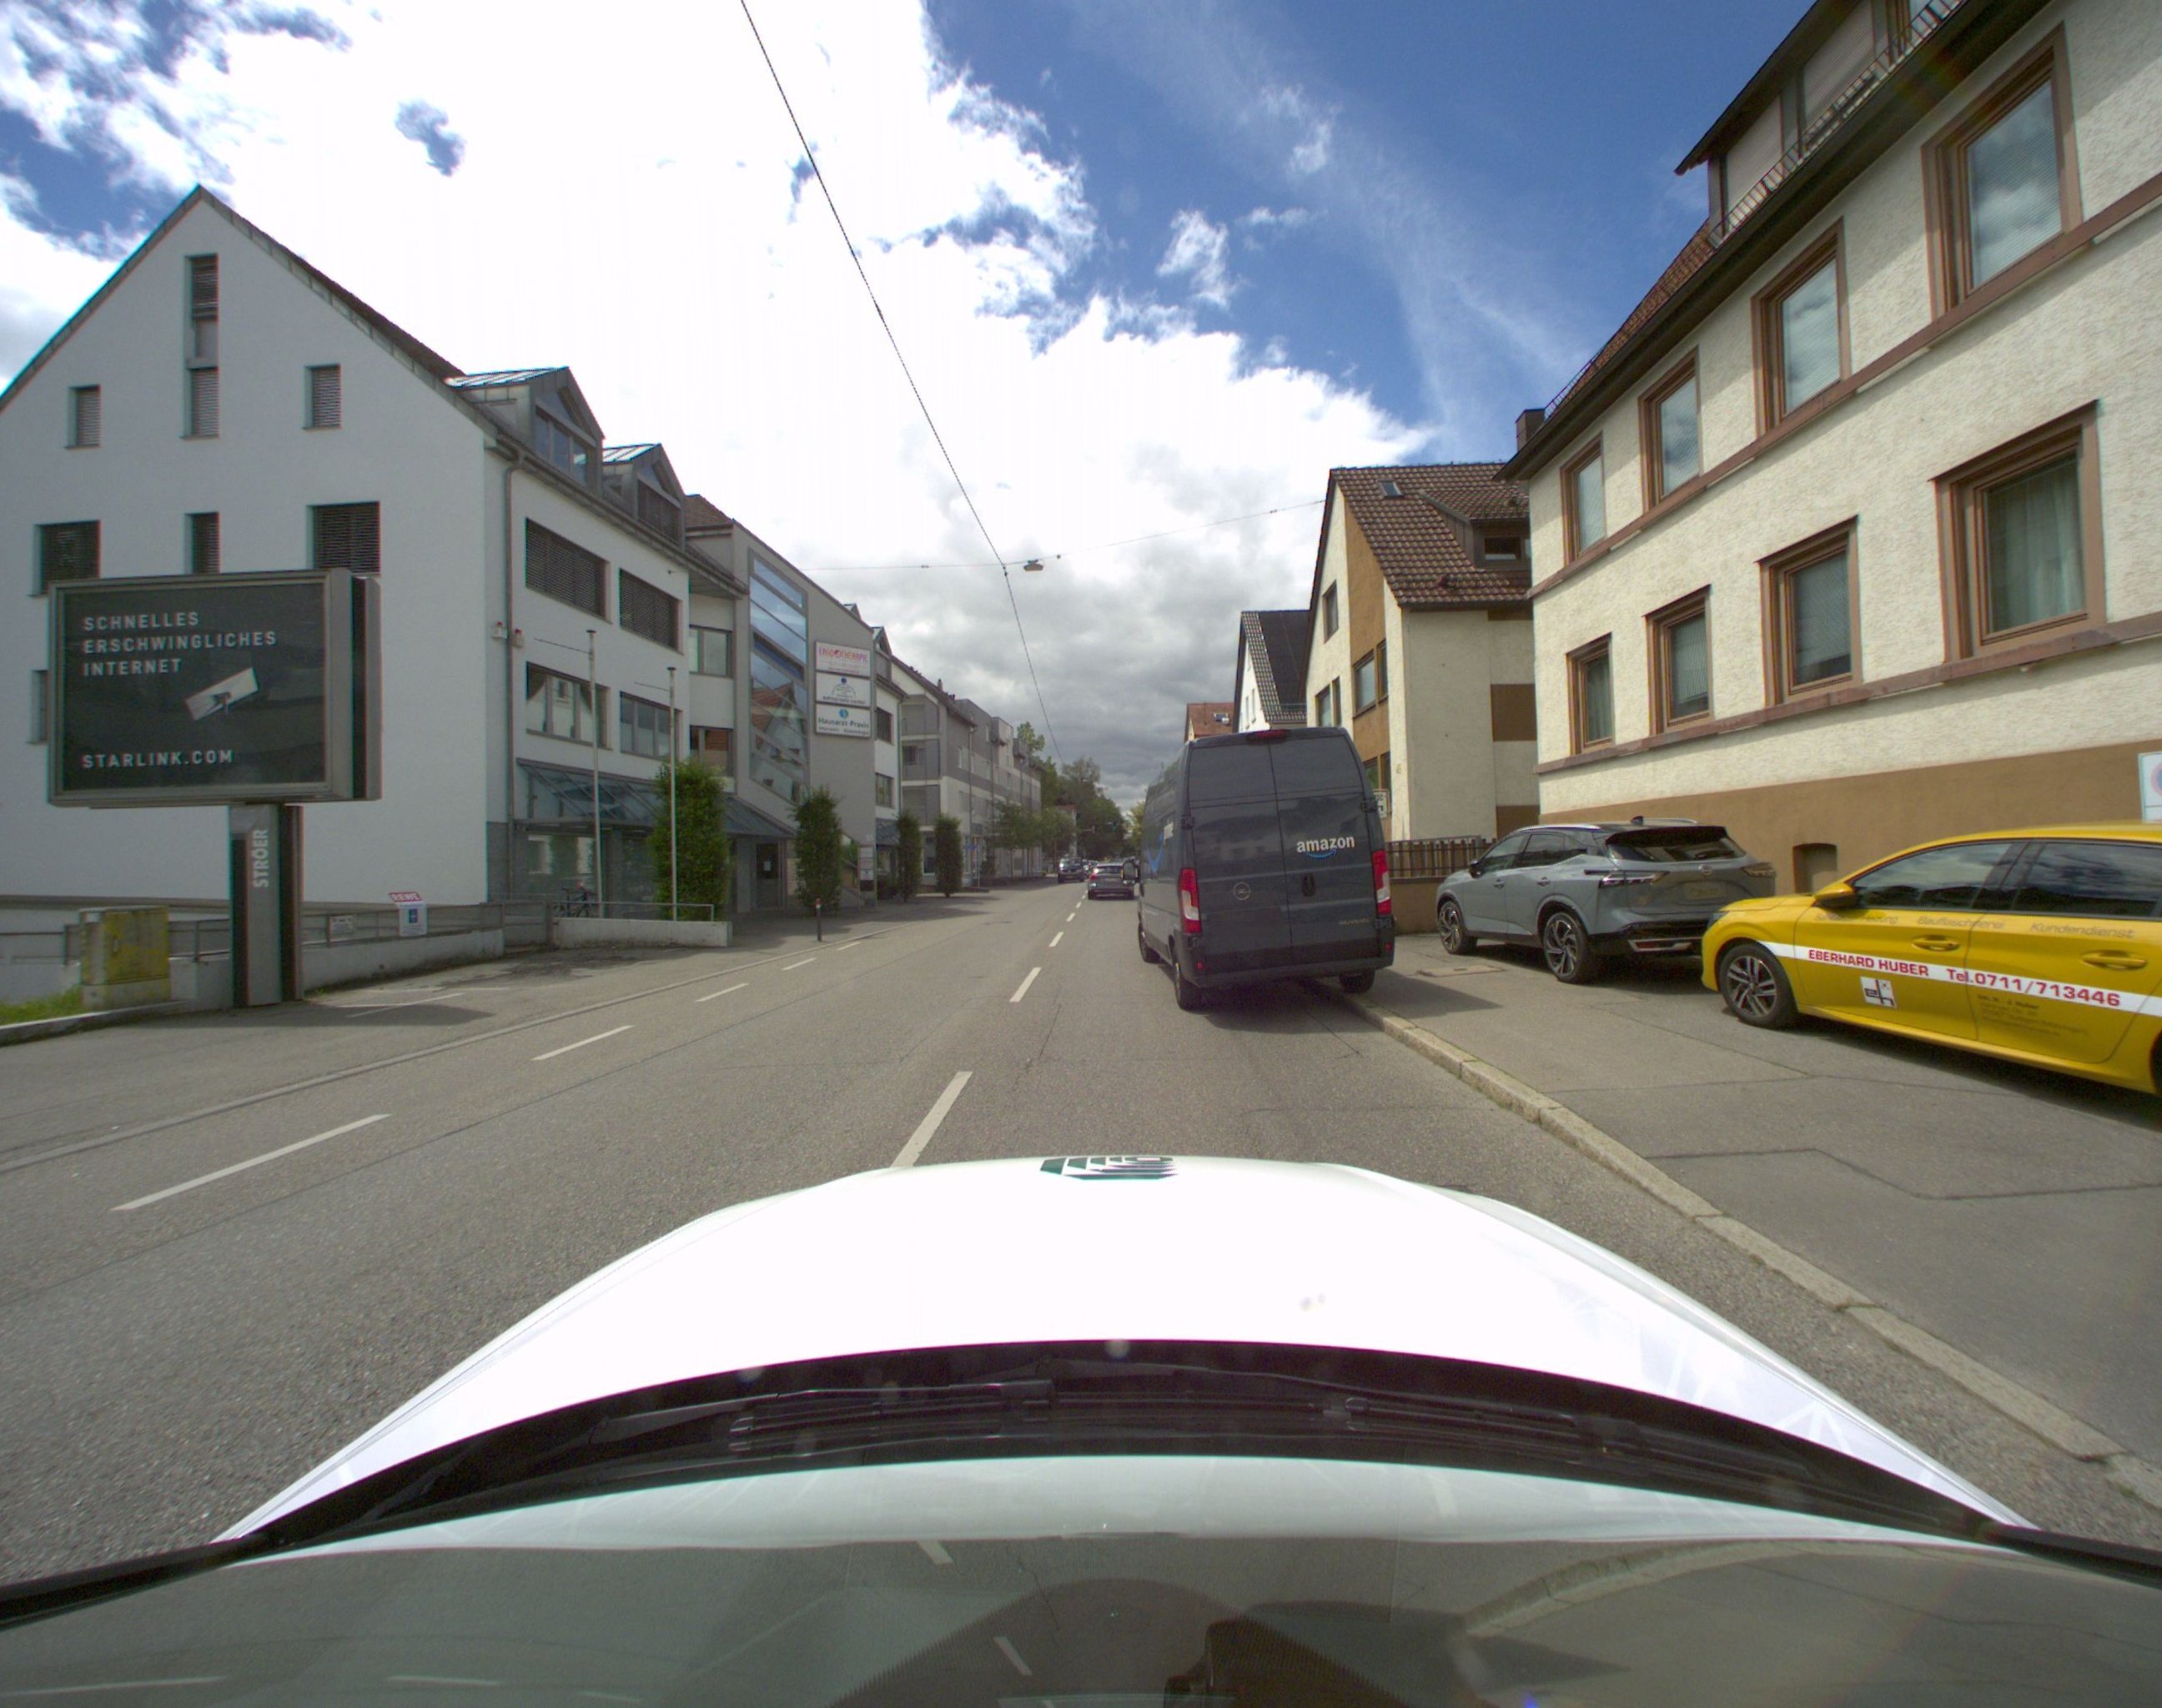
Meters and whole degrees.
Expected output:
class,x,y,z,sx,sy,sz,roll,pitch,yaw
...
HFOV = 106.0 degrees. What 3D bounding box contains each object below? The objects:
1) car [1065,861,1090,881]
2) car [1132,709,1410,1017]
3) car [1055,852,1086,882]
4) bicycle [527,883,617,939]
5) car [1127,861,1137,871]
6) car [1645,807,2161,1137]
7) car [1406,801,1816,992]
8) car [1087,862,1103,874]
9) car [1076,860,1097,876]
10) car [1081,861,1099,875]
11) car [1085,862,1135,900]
class,x,y,z,sx,sy,sz,roll,pitch,yaw
car,-0.293,1.495,74.536,2.098,1.710,4.766,-2,-1,1
car,1.931,0.111,10.350,2.245,2.795,5.569,-2,-1,1
car,-0.738,0.986,62.571,2.098,2.121,4.766,-4,-1,1
bicycle,-11.303,1.233,18.160,0.628,1.095,2.004,-2,-1,3
car,10.650,2.428,169.945,1.985,2.014,4.004,-2,-1,4
car,5.737,0.474,4.774,1.871,1.447,4.307,-2,2,0
car,5.646,0.395,9.568,1.854,1.612,4.587,-3,0,1
car,1.882,1.927,111.056,2.098,1.596,4.651,-2,-1,1
car,0.580,1.463,86.253,2.098,1.596,4.651,-2,-1,1
car,1.166,1.737,101.556,2.098,1.596,4.651,-2,-1,1
car,1.264,1.059,33.752,1.887,1.453,3.973,-1,0,5
